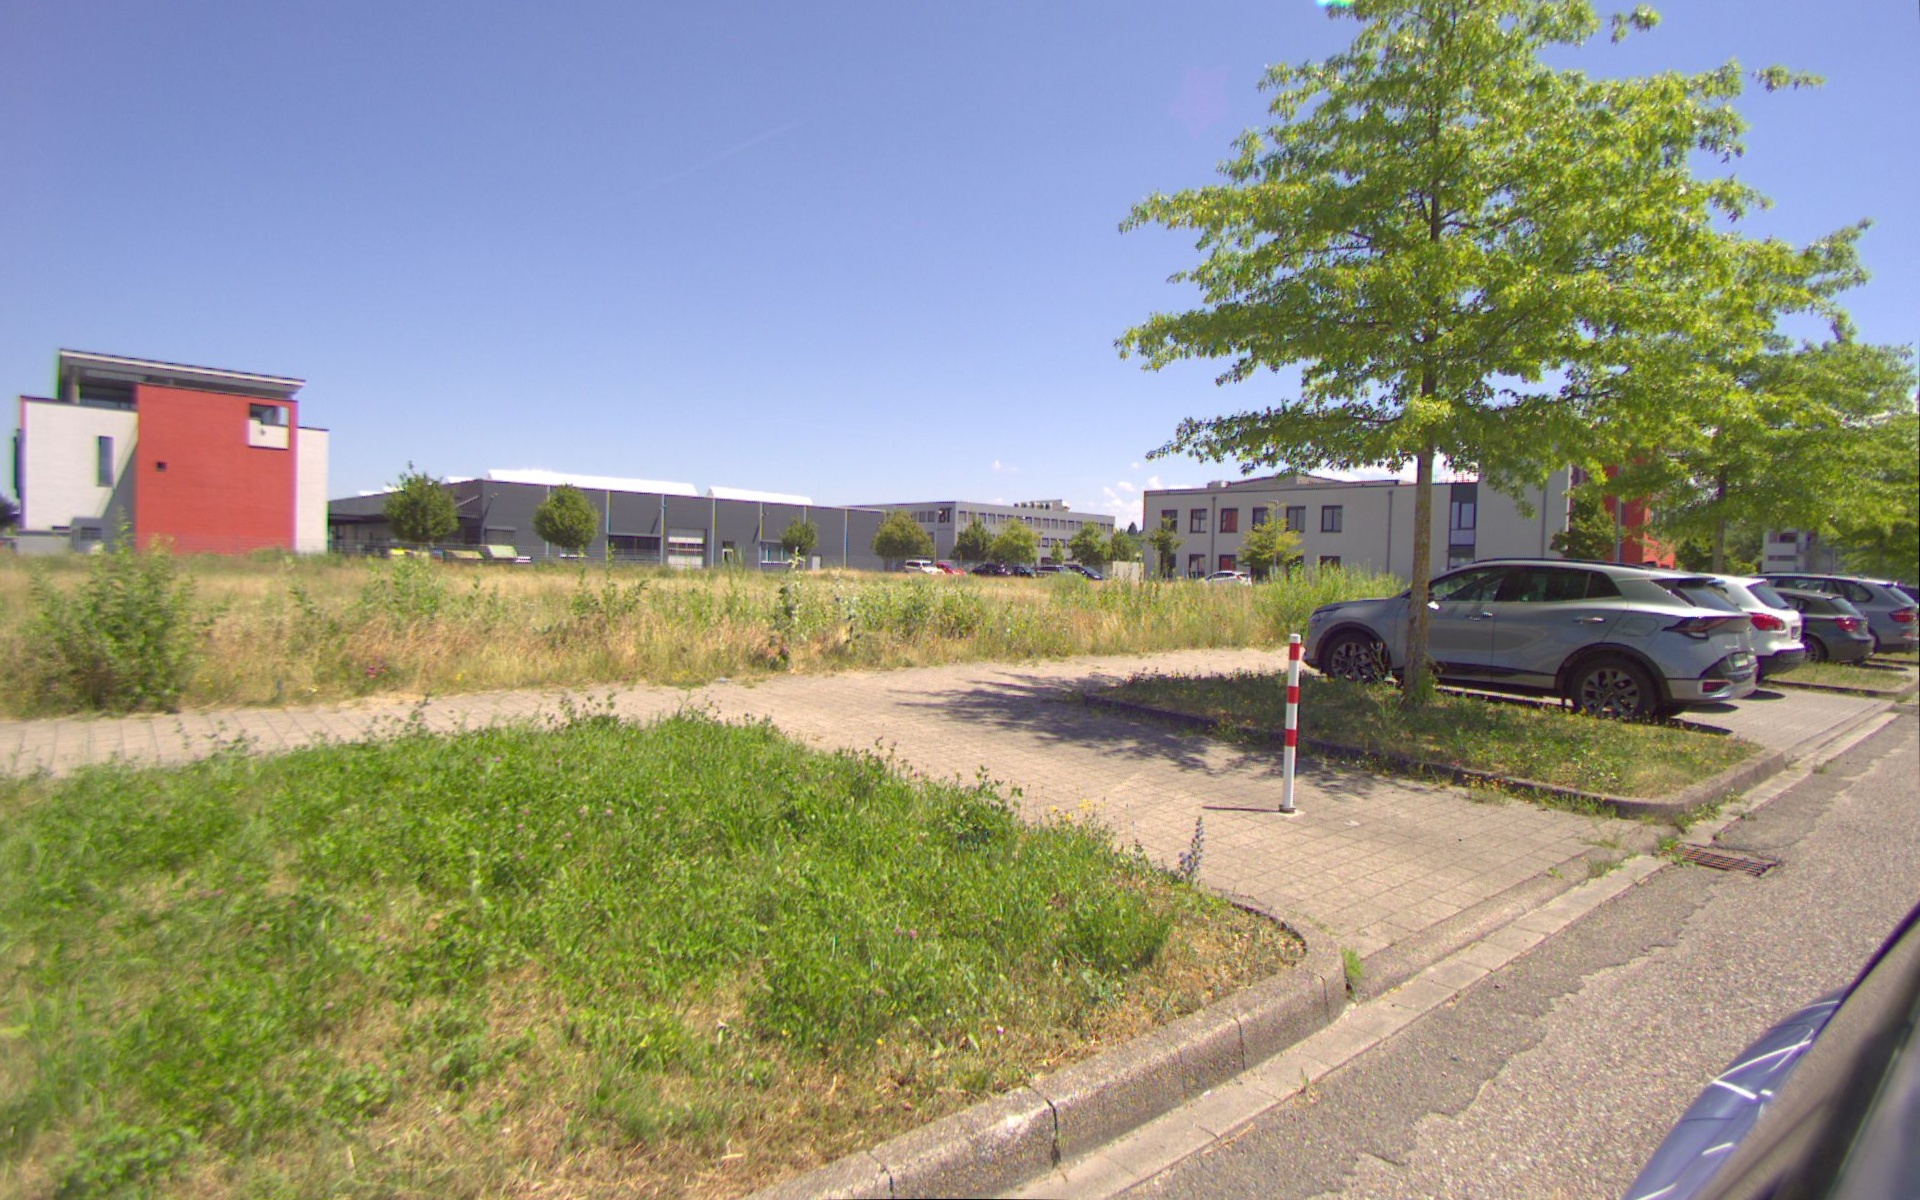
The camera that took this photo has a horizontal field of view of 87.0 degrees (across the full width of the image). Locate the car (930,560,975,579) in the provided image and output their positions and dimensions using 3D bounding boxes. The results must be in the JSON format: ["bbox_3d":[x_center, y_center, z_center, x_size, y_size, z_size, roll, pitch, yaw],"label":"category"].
[{"bbox_3d":[-0.685,-2.629,86.858,1.689,1.528,3.995,0,3,-41],"label":"car"}]

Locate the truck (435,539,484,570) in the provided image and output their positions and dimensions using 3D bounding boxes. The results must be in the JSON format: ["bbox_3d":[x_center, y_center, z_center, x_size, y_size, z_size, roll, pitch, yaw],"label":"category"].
[{"bbox_3d":[-34.923,-3.169,70.555,1.966,2.038,4.350,0,3,-42],"label":"truck"}]

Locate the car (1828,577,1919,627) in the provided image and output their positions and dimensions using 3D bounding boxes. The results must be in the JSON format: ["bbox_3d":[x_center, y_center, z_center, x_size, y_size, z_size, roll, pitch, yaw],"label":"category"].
[{"bbox_3d":[31.693,0.091,33.948,1.646,1.521,3.640,0,4,-40],"label":"car"}]

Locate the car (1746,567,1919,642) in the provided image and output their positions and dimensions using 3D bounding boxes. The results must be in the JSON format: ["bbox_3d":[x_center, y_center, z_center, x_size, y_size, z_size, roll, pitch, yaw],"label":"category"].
[{"bbox_3d":[23.311,0.083,26.572,1.751,1.698,3.884,0,4,-41],"label":"car"}]

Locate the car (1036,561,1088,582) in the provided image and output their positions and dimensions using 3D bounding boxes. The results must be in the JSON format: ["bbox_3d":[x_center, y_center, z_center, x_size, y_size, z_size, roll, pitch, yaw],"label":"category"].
[{"bbox_3d":[8.112,-2.251,80.708,1.690,1.528,3.994,0,3,-42],"label":"car"}]

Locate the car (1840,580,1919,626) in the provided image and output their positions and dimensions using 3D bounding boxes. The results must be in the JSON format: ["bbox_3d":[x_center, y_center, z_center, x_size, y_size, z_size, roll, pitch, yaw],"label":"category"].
[{"bbox_3d":[36.361,0.165,38.089,1.882,1.579,4.721,0,4,-45],"label":"car"}]

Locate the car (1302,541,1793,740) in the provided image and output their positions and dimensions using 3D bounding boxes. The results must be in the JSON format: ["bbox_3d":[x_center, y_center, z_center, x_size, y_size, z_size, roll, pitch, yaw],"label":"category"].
[{"bbox_3d":[6.250,0.262,11.206,1.818,1.664,4.289,0,4,-41],"label":"car"}]

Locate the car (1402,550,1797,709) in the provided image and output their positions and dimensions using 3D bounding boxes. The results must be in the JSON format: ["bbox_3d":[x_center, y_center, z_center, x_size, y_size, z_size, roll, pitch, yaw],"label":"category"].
[{"bbox_3d":[8.222,0.251,13.297,1.807,1.664,3.995,0,4,-42],"label":"car"}]

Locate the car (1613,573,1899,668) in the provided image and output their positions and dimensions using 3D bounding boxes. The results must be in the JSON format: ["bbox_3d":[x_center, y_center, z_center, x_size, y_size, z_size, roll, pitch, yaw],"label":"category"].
[{"bbox_3d":[14.876,0.291,19.064,1.876,1.426,3.931,-2,4,-41],"label":"car"}]

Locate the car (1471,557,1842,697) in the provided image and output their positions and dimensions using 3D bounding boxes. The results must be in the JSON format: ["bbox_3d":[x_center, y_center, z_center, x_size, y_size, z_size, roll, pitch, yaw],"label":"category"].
[{"bbox_3d":[9.969,0.256,14.744,1.868,1.627,4.077,-1,4,-41],"label":"car"}]

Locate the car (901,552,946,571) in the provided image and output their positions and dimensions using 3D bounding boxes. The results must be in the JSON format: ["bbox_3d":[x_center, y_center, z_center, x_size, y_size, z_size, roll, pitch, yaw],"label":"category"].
[{"bbox_3d":[-3.103,-3.248,85.532,1.689,1.470,3.995,0,3,-41],"label":"car"}]

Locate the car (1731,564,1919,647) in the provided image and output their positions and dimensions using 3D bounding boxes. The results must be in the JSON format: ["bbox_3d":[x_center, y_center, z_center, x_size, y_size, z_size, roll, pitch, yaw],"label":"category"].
[{"bbox_3d":[21.459,0.104,24.454,1.752,1.717,4.182,0,4,-42],"label":"car"}]

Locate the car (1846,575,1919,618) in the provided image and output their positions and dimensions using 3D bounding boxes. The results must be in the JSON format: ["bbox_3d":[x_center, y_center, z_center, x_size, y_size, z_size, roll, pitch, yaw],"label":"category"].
[{"bbox_3d":[39.700,-0.104,42.048,1.663,1.644,4.057,0,4,-40],"label":"car"}]

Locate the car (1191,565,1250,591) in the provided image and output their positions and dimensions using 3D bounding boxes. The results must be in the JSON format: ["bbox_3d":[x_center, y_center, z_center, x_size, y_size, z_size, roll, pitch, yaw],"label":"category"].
[{"bbox_3d":[16.893,-1.456,65.751,1.689,1.528,3.330,0,3,-41],"label":"car"}]

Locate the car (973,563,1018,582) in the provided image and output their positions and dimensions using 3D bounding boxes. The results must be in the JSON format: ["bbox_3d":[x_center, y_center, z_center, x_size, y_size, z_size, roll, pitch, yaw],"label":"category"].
[{"bbox_3d":[3.143,-2.456,90.500,1.689,1.528,3.995,0,3,-41],"label":"car"}]

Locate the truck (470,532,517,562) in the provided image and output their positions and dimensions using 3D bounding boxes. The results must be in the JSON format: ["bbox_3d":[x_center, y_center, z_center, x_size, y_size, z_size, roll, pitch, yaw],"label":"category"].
[{"bbox_3d":[-33.588,-3.811,72.860,1.966,2.038,3.994,0,3,-42],"label":"truck"}]

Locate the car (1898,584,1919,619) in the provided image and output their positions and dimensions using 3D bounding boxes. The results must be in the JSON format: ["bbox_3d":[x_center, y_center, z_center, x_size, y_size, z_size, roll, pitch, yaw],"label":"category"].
[{"bbox_3d":[45.401,0.157,45.932,1.746,1.572,3.848,2,2,-36],"label":"car"}]

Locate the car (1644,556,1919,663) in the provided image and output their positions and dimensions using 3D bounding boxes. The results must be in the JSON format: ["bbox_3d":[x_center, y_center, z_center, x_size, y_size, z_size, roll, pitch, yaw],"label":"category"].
[{"bbox_3d":[16.879,0.112,20.639,1.959,1.789,4.456,0,4,-43],"label":"car"}]

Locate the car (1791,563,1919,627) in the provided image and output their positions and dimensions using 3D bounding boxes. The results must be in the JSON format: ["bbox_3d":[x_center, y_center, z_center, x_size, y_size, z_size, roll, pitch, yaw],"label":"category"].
[{"bbox_3d":[29.688,-0.150,32.433,1.764,1.852,4.414,0,4,-40],"label":"car"}]
